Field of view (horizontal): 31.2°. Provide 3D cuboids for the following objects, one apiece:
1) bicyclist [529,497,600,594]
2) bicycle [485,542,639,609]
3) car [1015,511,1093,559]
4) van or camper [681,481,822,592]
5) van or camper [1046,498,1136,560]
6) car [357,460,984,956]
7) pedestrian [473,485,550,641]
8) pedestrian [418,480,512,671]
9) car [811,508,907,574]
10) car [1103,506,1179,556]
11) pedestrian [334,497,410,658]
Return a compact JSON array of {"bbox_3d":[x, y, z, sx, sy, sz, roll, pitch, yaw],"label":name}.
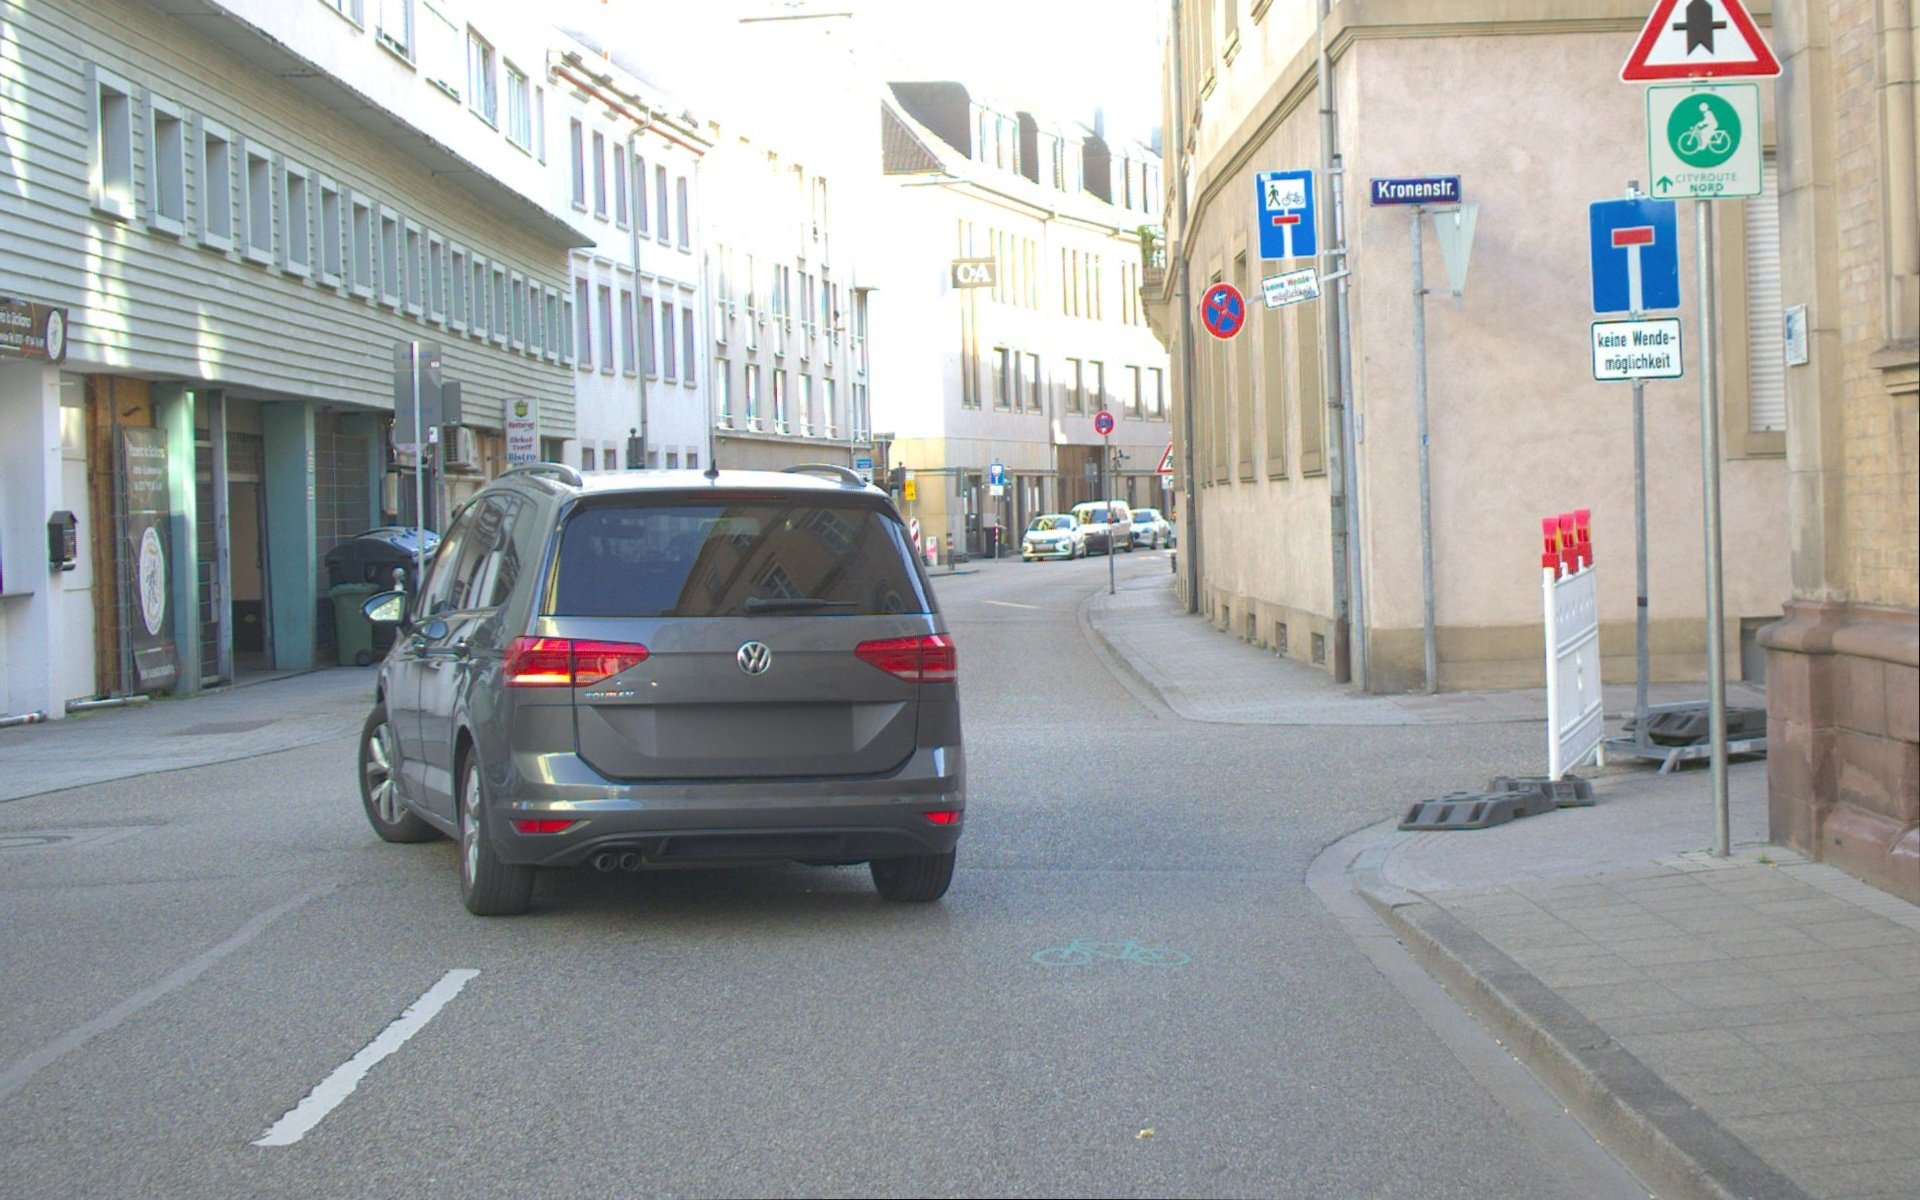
[{"bbox_3d":[-6.489,-0.896,56.376,0.758,1.556,0.832,0,2,34],"label":"bicyclist"},{"bbox_3d":[-6.539,-0.399,56.427,2.546,1.050,0.832,0,2,34],"label":"bicycle"},{"bbox_3d":[3.074,-2.127,112.090,1.735,1.463,3.998,-1,2,13],"label":"car"},{"bbox_3d":[-3.940,-1.228,65.604,1.994,2.007,4.482,-1,1,5],"label":"van or camper"},{"bbox_3d":[4.515,-2.464,117.828,1.995,2.006,4.995,-1,2,15],"label":"van or camper"},{"bbox_3d":[-1.295,0.294,13.541,1.761,1.601,4.001,-2,2,-15],"label":"car"},{"bbox_3d":[-5.298,-0.439,40.631,0.556,1.823,0.730,-1,1,23],"label":"pedestrian"},{"bbox_3d":[-4.791,-0.239,33.315,0.556,1.823,0.730,-1,1,23],"label":"pedestrian"},{"bbox_3d":[-2.382,-1.421,81.801,1.866,1.463,3.833,-1,2,4],"label":"car"},{"bbox_3d":[6.562,-2.489,124.134,1.827,1.720,3.997,-1,2,16],"label":"car"},{"bbox_3d":[-6.749,-0.267,39.496,0.728,1.823,0.557,-1,1,-1],"label":"pedestrian"}]
